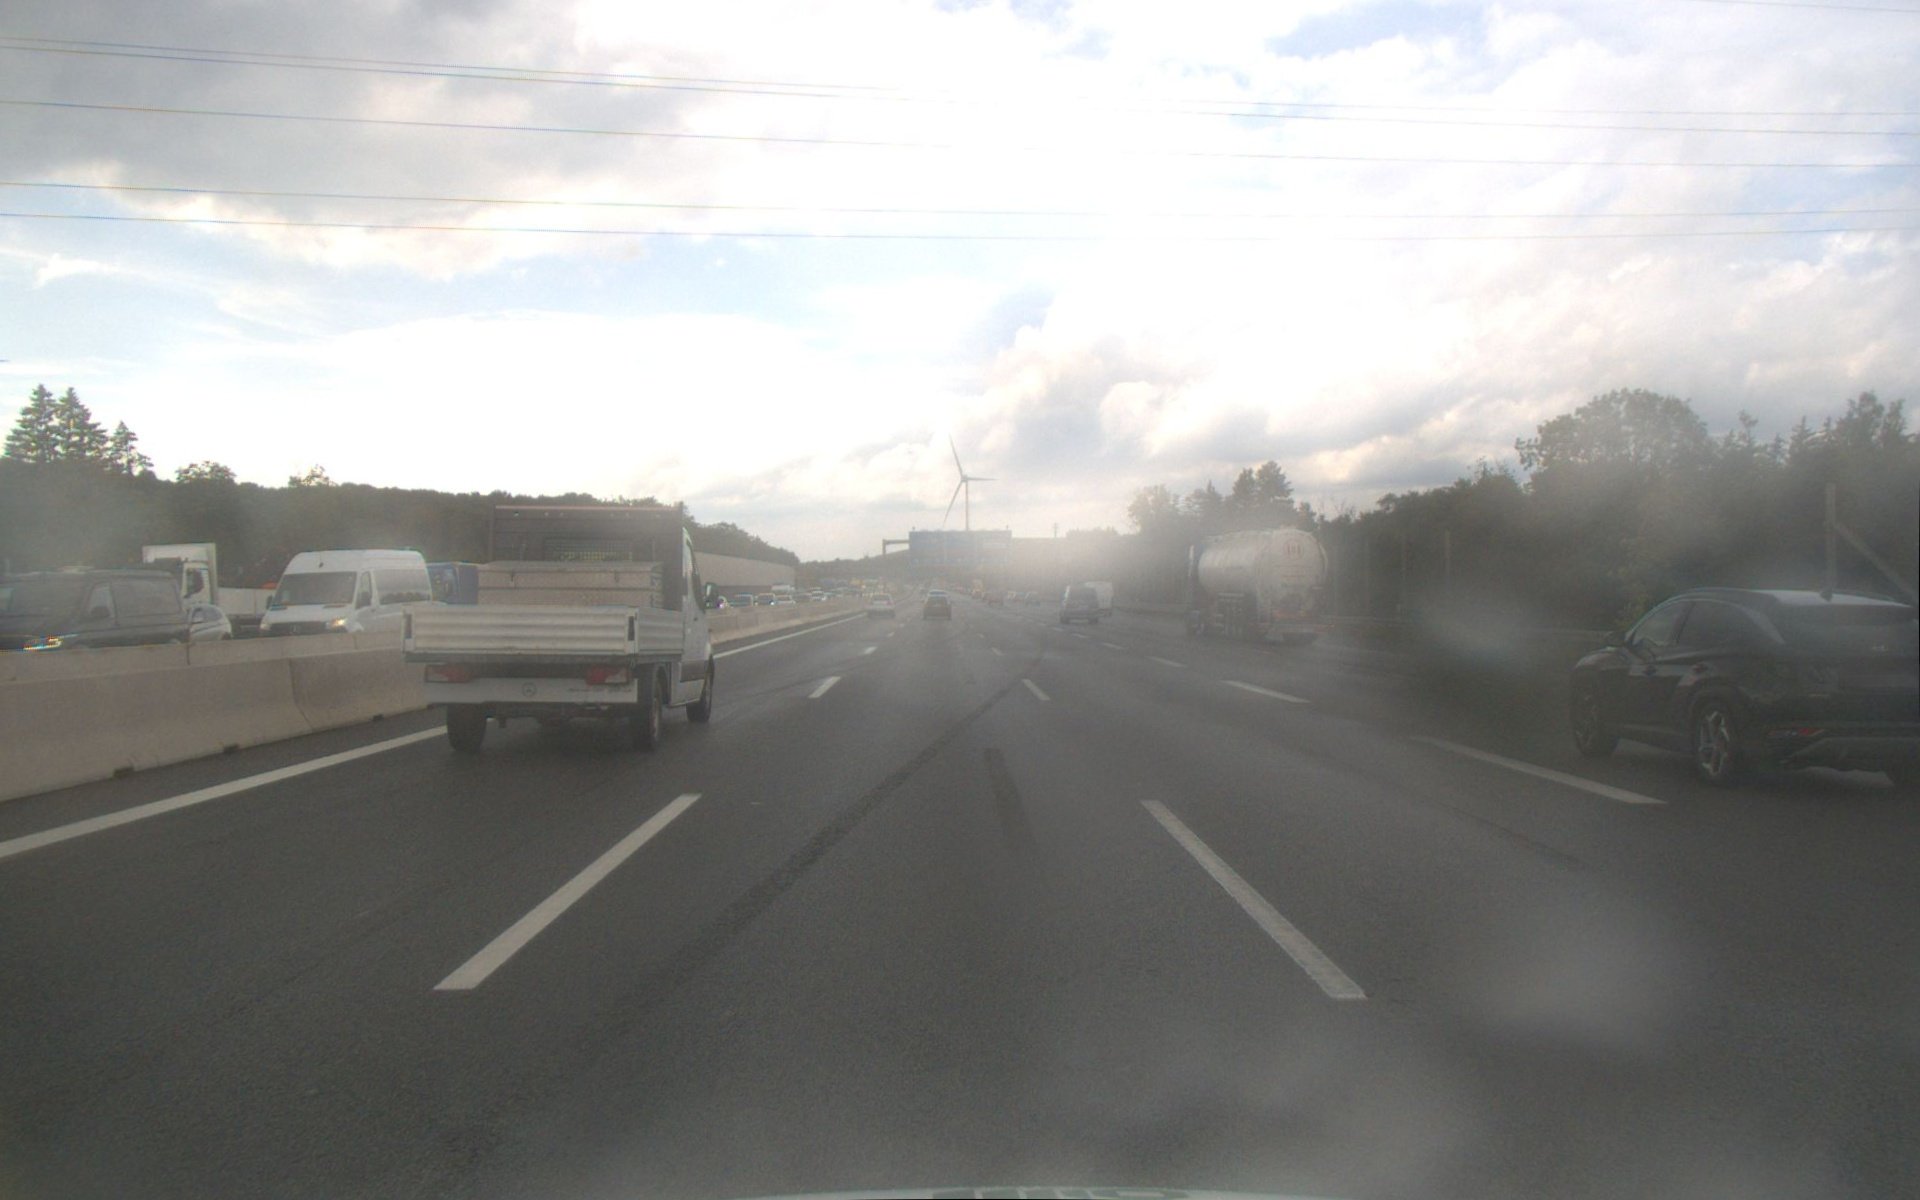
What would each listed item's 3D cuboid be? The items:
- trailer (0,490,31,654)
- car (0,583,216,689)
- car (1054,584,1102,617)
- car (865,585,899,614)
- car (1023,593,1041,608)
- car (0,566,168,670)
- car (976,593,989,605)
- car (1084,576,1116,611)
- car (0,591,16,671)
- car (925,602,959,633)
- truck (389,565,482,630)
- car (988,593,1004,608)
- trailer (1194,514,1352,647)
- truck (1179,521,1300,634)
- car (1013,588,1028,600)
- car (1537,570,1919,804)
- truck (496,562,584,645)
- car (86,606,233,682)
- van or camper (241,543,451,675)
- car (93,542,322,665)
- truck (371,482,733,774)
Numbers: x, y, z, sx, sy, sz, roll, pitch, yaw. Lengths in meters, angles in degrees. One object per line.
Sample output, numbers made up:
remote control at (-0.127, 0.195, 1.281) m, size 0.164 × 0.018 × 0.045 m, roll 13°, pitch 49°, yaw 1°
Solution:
trailer at (-21.885, -0.572, 30.505) m, size 2.963 × 3.493 × 11.774 m, roll 1°, pitch 1°, yaw -1°
car at (-13.954, 0.495, 26.415) m, size 1.841 × 1.503 × 5.171 m, roll 1°, pitch 1°, yaw -1°
car at (6.395, 0.022, 90.237) m, size 2.056 × 1.729 × 3.997 m, roll 0°, pitch 1°, yaw -4°
car at (-4.874, -0.056, 103.821) m, size 2.003 × 1.729 × 3.999 m, roll 0°, pitch 1°, yaw -1°
car at (8.928, 0.050, 204.037) m, size 1.953 × 1.780 × 4.496 m, roll 1°, pitch 0°, yaw -1°
car at (-18.524, 0.333, 34.458) m, size 2.163 × 2.035 × 3.999 m, roll 1°, pitch 0°, yaw -1°
car at (3.434, -0.120, 249.581) m, size 1.830 × 1.758 × 3.999 m, roll 1°, pitch 0°, yaw -1°
car at (10.311, -0.471, 122.025) m, size 2.003 × 2.541 × 3.999 m, roll 0°, pitch 1°, yaw -1°
car at (-18.162, 0.566, 28.336) m, size 1.716 × 1.435 × 3.999 m, roll 1°, pitch 0°, yaw -1°
car at (-1.070, 1.039, 99.966) m, size 2.003 × 1.729 × 4.000 m, roll 0°, pitch 1°, yaw 0°
truck at (-30.805, -0.148, 97.410) m, size 3.074 × 3.644 × 7.664 m, roll 0°, pitch 0°, yaw -1°
car at (4.505, 0.072, 206.698) m, size 2.003 × 1.729 × 4.000 m, roll 0°, pitch 1°, yaw 0°
trailer at (10.949, -0.691, 59.362) m, size 3.265 × 4.248 × 11.836 m, roll 1°, pitch 0°, yaw -1°
truck at (10.869, -0.876, 65.290) m, size 3.265 × 4.151 × 8.270 m, roll 1°, pitch 0°, yaw -1°
car at (8.688, -0.840, 239.220) m, size 2.003 × 1.729 × 4.000 m, roll 0°, pitch 1°, yaw 0°
car at (7.158, 0.635, 15.036) m, size 2.003 × 1.729 × 5.007 m, roll 2°, pitch 1°, yaw 0°
truck at (-18.972, 0.128, 75.161) m, size 2.139 × 3.580 × 7.490 m, roll 0°, pitch 0°, yaw -1°
car at (-22.178, 1.176, 46.014) m, size 1.953 × 1.949 × 4.441 m, roll 0°, pitch 0°, yaw -1°
van or camper at (-14.040, 0.176, 38.472) m, size 2.134 × 2.752 × 7.519 m, roll 0°, pitch 0°, yaw -1°
car at (-27.117, 0.093, 60.461) m, size 3.137 × 4.016 × 11.655 m, roll 0°, pitch 0°, yaw -1°
truck at (-3.974, 0.192, 17.754) m, size 2.306 × 2.450 × 7.355 m, roll 1°, pitch 1°, yaw -2°
